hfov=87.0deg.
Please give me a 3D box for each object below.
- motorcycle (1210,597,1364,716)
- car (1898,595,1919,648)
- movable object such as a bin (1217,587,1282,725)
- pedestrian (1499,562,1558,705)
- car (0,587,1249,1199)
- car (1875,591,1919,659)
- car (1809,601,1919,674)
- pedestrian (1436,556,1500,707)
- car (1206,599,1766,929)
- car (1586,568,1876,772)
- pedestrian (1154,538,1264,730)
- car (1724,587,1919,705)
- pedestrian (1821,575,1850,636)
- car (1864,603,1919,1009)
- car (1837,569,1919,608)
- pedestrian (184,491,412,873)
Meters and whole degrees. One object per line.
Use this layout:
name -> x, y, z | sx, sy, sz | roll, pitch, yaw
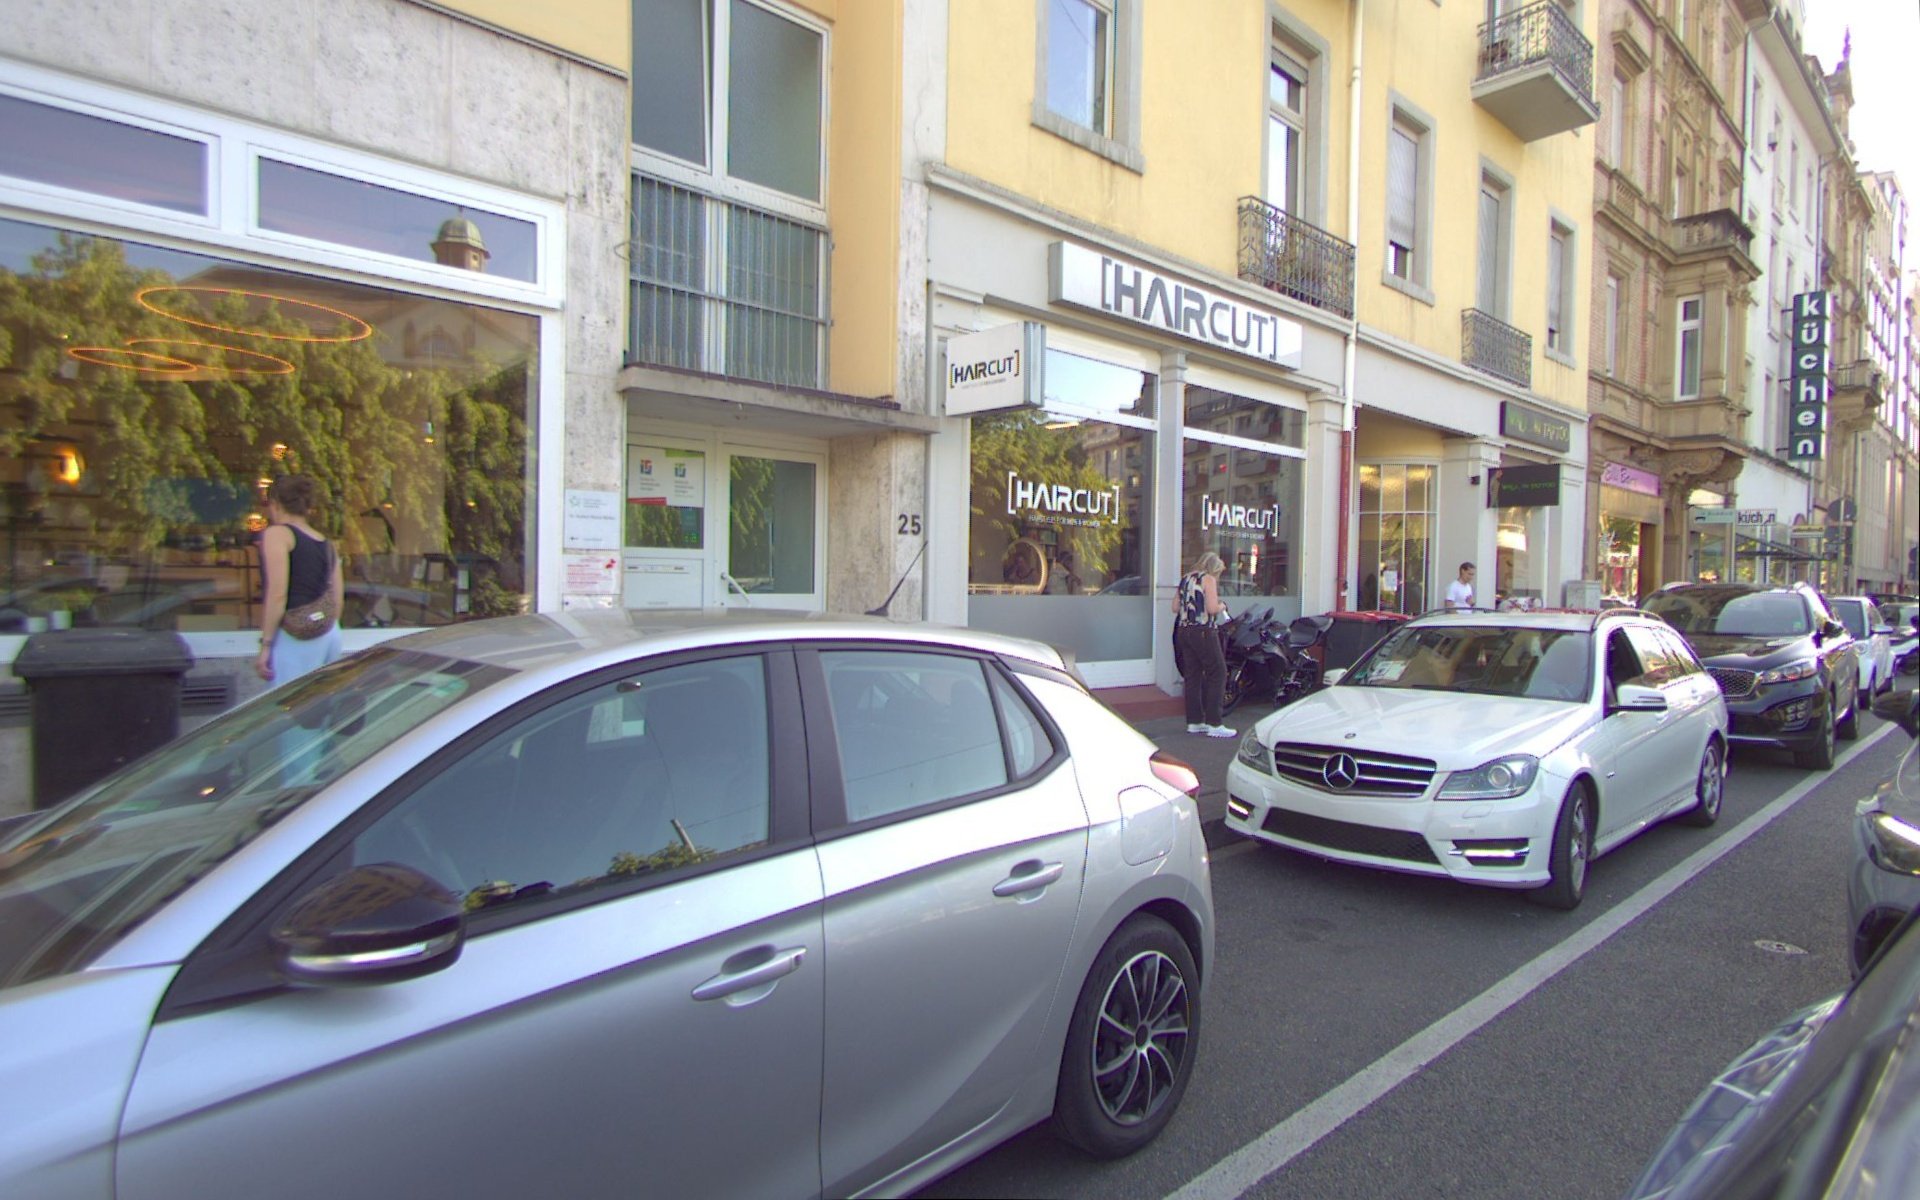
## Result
motorcycle -> 3.439, 0.545, 10.558 | 1.920, 1.091, 0.567 | -1, 4, -41
car -> 26.665, 0.548, 27.220 | 3.773, 1.357, 1.800 | -1, 1, -42
movable object such as a bin -> 2.730, 0.511, 9.546 | 0.387, 1.253, 0.391 | 0, 3, -41
pedestrian -> 7.663, 0.435, 13.673 | 0.567, 1.874, 0.661 | 0, 0, 19
car -> -1.004, 0.698, 2.300 | 3.597, 1.445, 1.549 | -1, 1, -42
car -> 22.216, 0.531, 23.051 | 4.016, 1.450, 1.657 | -1, 0, -42
car -> 18.465, 0.677, 20.221 | 4.016, 1.282, 1.800 | -1, 1, -42
pedestrian -> 6.904, 0.417, 13.754 | 0.679, 2.008, 0.375 | 1, 1, -18
car -> 3.554, 0.707, 6.430 | 4.302, 1.376, 1.703 | -1, 1, -41
car -> 8.007, 0.547, 10.356 | 4.176, 1.659, 1.799 | -1, 1, -45
pedestrian -> 2.284, 0.280, 9.301 | 0.595, 1.674, 0.719 | 0, 3, -40
car -> 13.137, 0.581, 15.329 | 4.016, 1.546, 1.800 | -1, 0, -42
pedestrian -> 27.335, 0.162, 31.593 | 0.653, 1.874, 0.574 | 0, 0, -40
car -> 5.273, 0.706, 4.228 | 3.931, 1.376, 1.800 | -1, 1, -42
car -> 39.186, -0.478, 42.060 | 3.978, 1.571, 1.832 | 0, 0, 38
pedestrian -> -3.131, 0.355, 4.834 | 0.636, 1.686, 0.658 | 1, 0, 8
